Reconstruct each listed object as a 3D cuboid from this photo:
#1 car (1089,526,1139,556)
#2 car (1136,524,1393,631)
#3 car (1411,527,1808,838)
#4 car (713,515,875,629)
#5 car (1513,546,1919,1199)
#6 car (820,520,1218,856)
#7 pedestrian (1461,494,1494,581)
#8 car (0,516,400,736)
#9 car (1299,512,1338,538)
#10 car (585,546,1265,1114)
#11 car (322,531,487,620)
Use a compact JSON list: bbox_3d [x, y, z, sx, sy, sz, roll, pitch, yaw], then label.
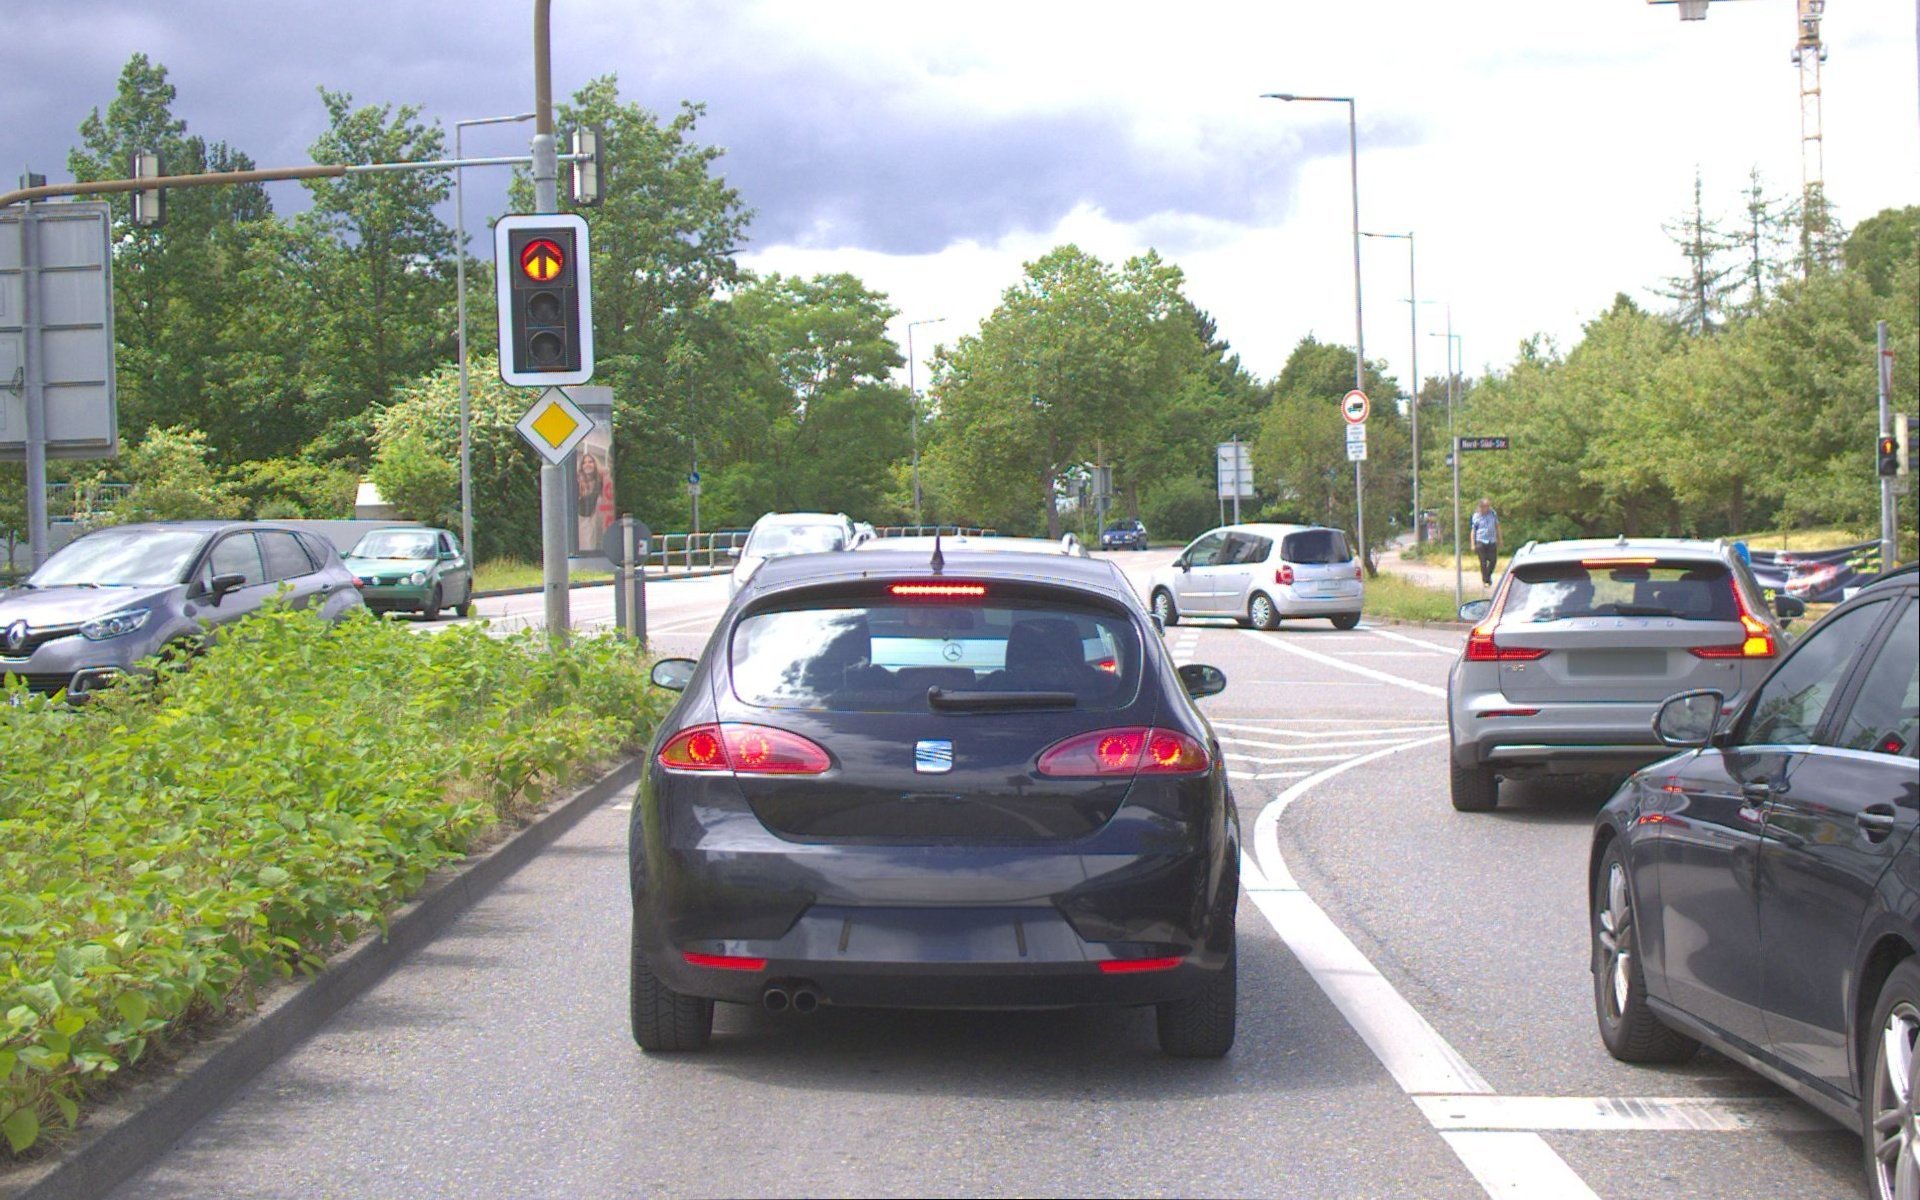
[{"bbox_3d":[7.252,-2.792,161.904,1.994,1.347,3.999,0,1,8],"label":"car"},{"bbox_3d":[4.543,-0.367,51.789,1.993,1.525,4.001,-1,2,-28],"label":"car"},{"bbox_3d":[3.573,0.375,19.609,1.863,1.513,4.446,-1,1,6],"label":"car"},{"bbox_3d":[-2.400,-0.442,50.654,1.994,1.590,4.000,0,1,3],"label":"car"},{"bbox_3d":[2.737,0.620,8.266,1.872,1.436,5.200,-1,1,-1],"label":"car"},{"bbox_3d":[0.200,0.360,17.493,1.773,1.486,3.583,-1,1,-2],"label":"car"},{"bbox_3d":[10.283,-1.239,68.283,0.559,1.720,0.588,0,1,1],"label":"pedestrian"},{"bbox_3d":[-6.171,0.138,26.252,1.937,1.511,3.996,0,2,22],"label":"car"},{"bbox_3d":[19.415,-4.066,186.240,1.994,1.347,3.999,0,1,8],"label":"car"},{"bbox_3d":[-0.106,0.575,10.790,1.773,1.447,3.582,0,1,0],"label":"car"},{"bbox_3d":[-8.800,-0.412,54.722,1.993,1.347,4.000,0,1,0],"label":"car"}]
